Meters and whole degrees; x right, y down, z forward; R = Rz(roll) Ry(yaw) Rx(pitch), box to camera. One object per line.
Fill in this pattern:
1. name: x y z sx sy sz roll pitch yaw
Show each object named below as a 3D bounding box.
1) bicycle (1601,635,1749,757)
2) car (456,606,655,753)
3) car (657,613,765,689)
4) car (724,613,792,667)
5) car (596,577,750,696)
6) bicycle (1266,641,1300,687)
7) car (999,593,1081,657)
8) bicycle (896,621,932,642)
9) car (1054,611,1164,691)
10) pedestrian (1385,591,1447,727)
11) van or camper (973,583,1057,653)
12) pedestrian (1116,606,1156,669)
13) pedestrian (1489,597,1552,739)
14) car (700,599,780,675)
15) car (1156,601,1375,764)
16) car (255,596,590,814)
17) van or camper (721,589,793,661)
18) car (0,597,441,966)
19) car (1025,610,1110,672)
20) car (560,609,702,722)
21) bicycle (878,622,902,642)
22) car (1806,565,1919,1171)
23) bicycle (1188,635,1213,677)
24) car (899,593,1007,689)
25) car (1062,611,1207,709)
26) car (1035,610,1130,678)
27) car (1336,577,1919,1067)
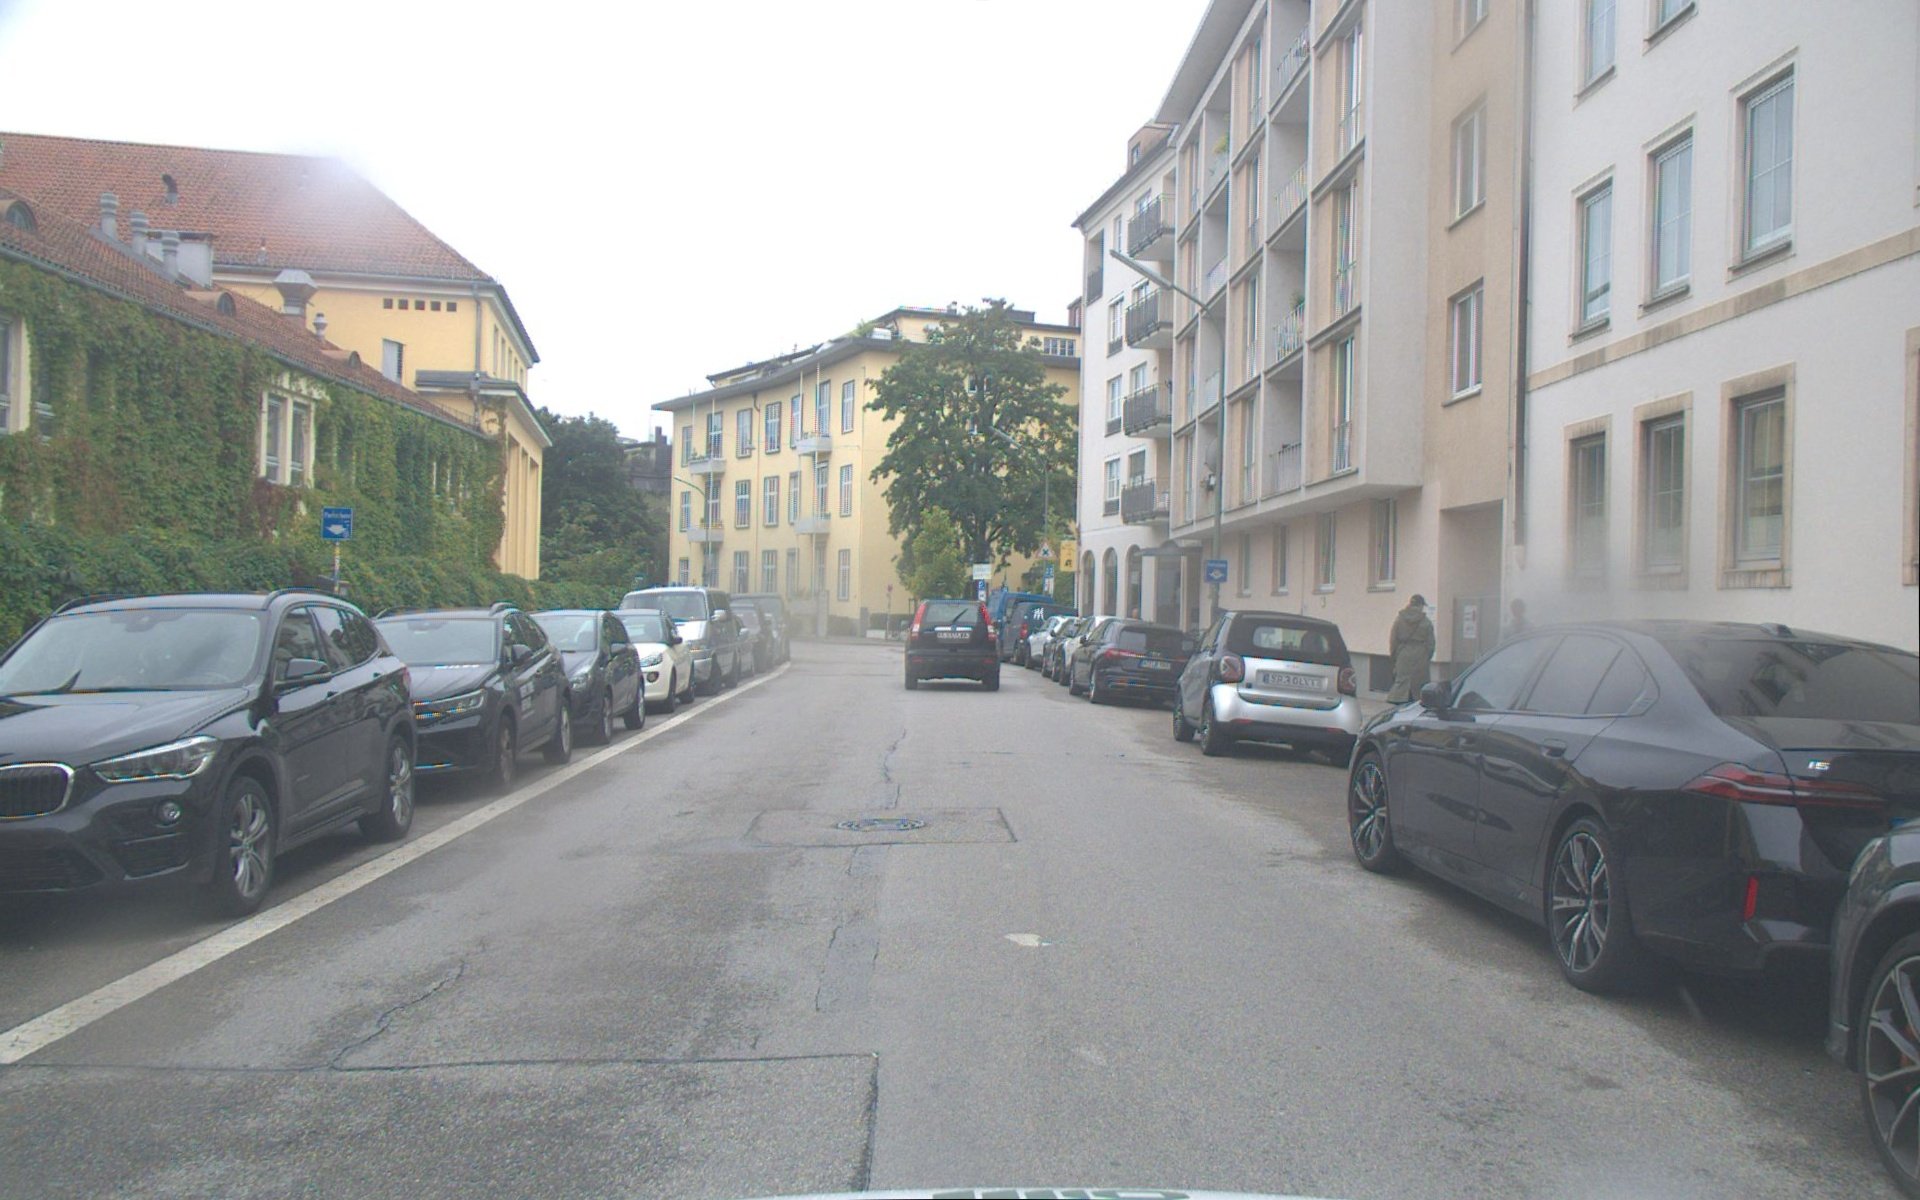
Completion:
1. bicycle: 7.508 0.979 17.479 0.645 1.183 2.027 0 0 -1
2. car: -4.623 0.844 19.397 1.547 1.481 3.901 -2 0 -4
3. car: -5.272 1.045 35.526 1.667 1.447 4.424 -2 0 -1
4. car: -5.572 1.072 46.025 1.587 1.402 4.069 0 0 -3
5. car: -5.075 0.628 29.913 1.953 1.908 4.757 -2 0 -1
6. bicycle: 7.055 1.389 36.171 0.435 0.952 1.401 0 -1 -2
7. car: 2.378 0.725 50.467 1.925 1.848 4.932 0 0 -4
8. bicycle: -2.615 1.761 93.635 2.176 1.136 0.607 1 -1 40
9. car: 3.078 1.023 34.874 1.704 1.525 4.216 1 0 -3
10. pedestrian: 5.719 0.731 20.762 0.584 1.683 0.630 0 0 -2
11. van or camper: 1.804 0.586 56.181 2.021 2.270 5.429 0 0 -7
12. pedestrian: 4.833 1.017 45.443 0.880 1.717 1.319 0 -1 -3
13. pedestrian: 6.475 0.772 19.121 0.520 1.612 0.560 0 0 -2
14. car: -5.360 0.870 40.747 1.587 1.760 4.422 0 0 -3
15. car: 3.386 0.855 19.023 1.638 1.561 3.880 4 0 -1
16. car: -4.487 0.783 14.477 1.746 1.565 4.146 -2 0 -4
17. van or camper: -6.161 0.724 50.646 1.922 2.101 4.749 0 0 -4
18. car: -4.350 0.804 9.237 1.746 1.565 4.192 -2 0 -4
19. car: 2.858 1.071 44.975 1.705 1.564 4.269 0 0 -5
20. car: -4.846 0.915 24.747 1.547 1.518 3.727 -2 0 -4
21. bicycle: -4.039 1.851 95.690 0.600 1.091 2.200 1 0 -25
22. car: 3.472 0.756 2.852 1.742 1.612 4.271 3 0 -1
23. bicycle: 6.199 1.434 42.668 0.414 1.041 1.301 0 -1 -2
24. car: -0.094 0.739 32.043 1.954 1.724 4.380 0 0 1
25. car: 2.969 0.989 29.033 1.760 1.445 4.480 4 0 -3
26. car: 2.882 1.012 39.702 1.704 1.525 4.492 0 0 -3
27. car: 3.346 0.767 7.853 1.818 1.571 4.814 3 0 -2
